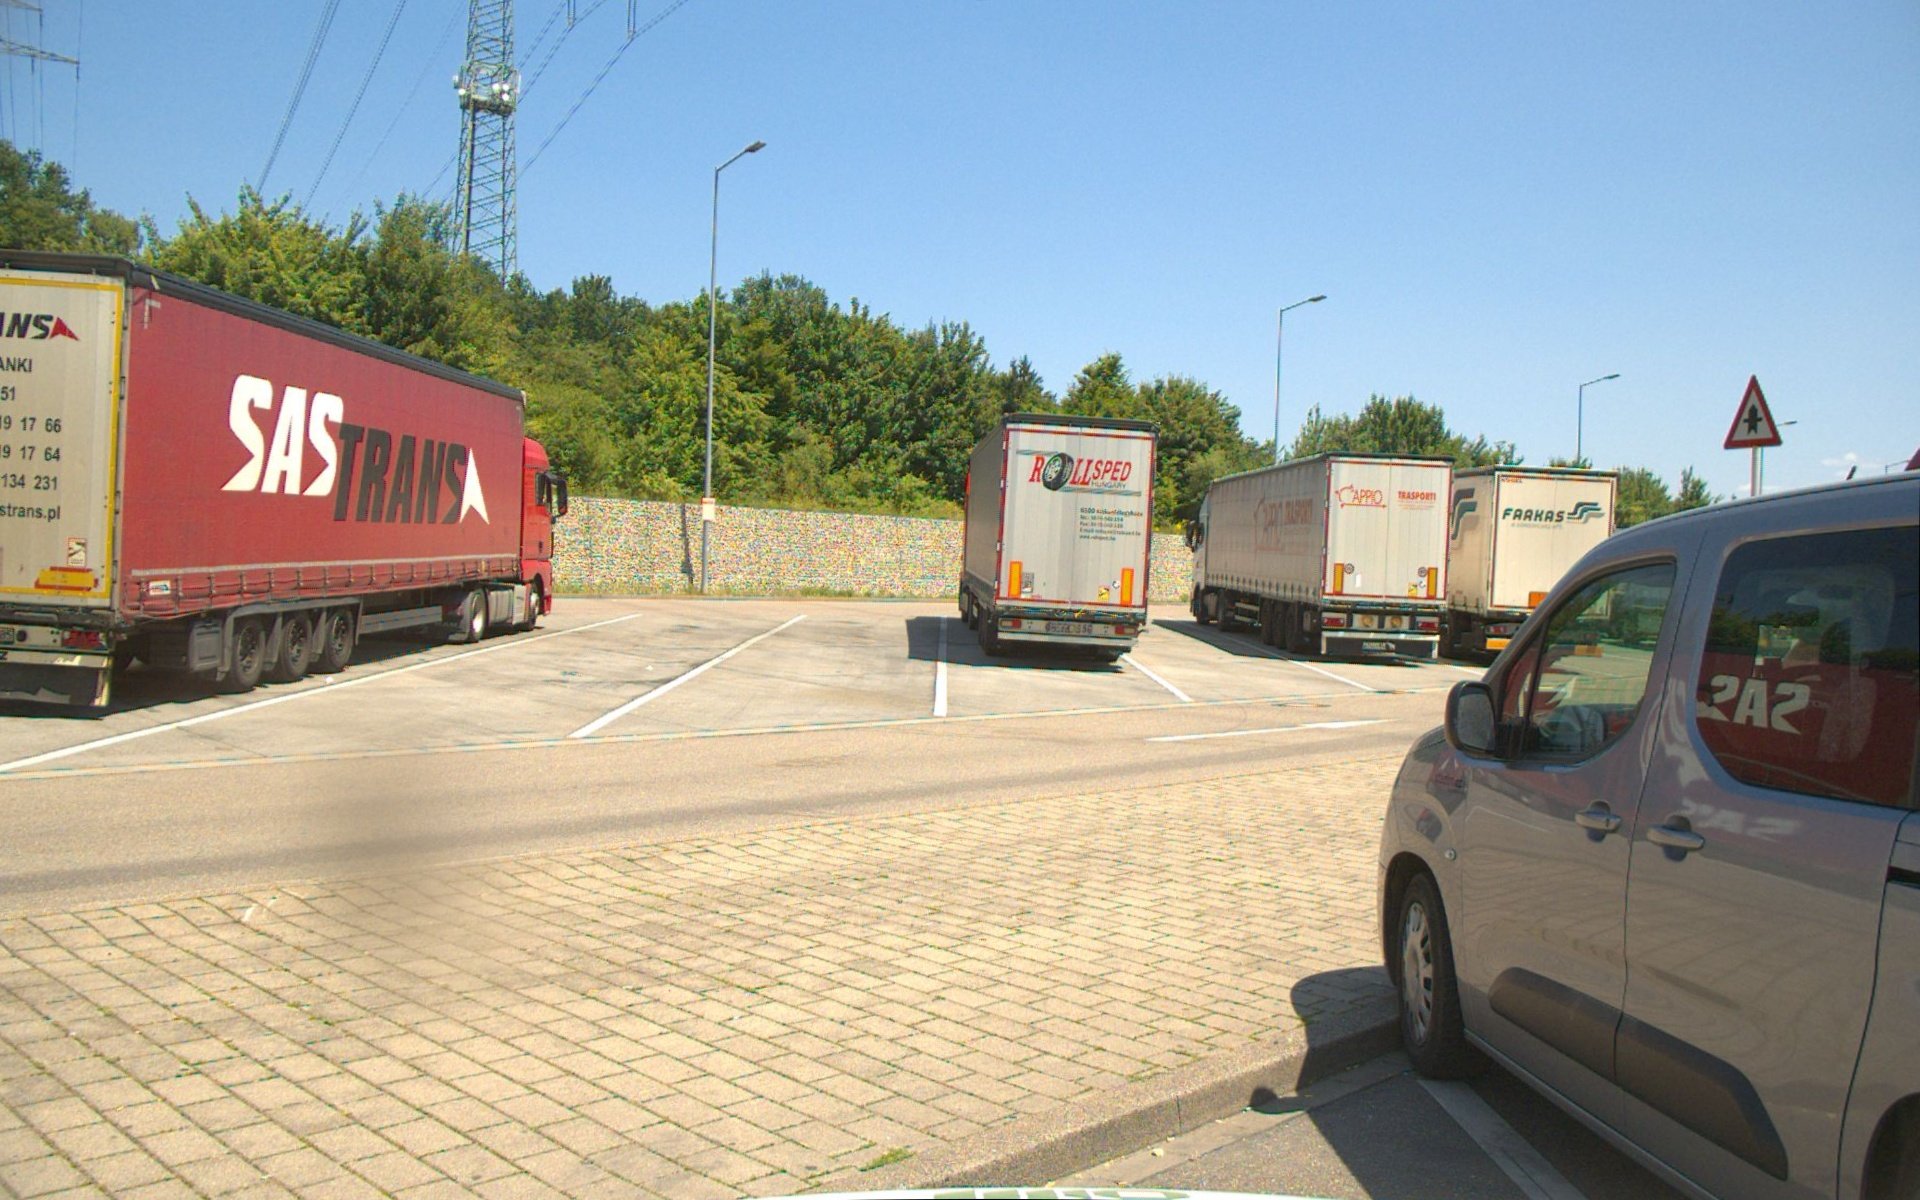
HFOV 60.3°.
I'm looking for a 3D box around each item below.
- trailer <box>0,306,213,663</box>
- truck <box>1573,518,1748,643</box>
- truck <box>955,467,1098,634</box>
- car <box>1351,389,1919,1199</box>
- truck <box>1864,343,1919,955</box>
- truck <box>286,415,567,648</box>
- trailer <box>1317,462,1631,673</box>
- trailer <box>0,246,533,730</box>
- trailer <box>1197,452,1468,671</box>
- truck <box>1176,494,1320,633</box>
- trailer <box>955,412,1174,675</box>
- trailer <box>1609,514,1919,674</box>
[{"bbox_3d":[-12.555,-1.337,17.720,2.739,4.155,14.131,3,2,-1],"label":"trailer"},{"bbox_3d":[21.762,-0.691,51.744,2.746,3.582,5.900,3,2,-1],"label":"truck"},{"bbox_3d":[1.498,-1.239,40.540,3.041,3.628,5.900,3,2,-1],"label":"truck"},{"bbox_3d":[2.437,0.607,3.864,1.832,1.895,4.174,3,1,-2],"label":"car"},{"bbox_3d":[4.999,0.204,4.987,1.937,2.668,5.307,1,0,4],"label":"truck"},{"bbox_3d":[-8.794,-1.152,28.013,2.793,3.385,5.900,3,2,-1],"label":"truck"},{"bbox_3d":[11.730,-0.932,39.963,2.754,4.058,14.395,3,2,-1],"label":"trailer"},{"bbox_3d":[-8.728,-1.291,21.443,2.735,4.155,14.131,3,2,-1],"label":"trailer"},{"bbox_3d":[8.167,-1.027,38.859,2.754,4.058,14.395,3,2,-1],"label":"trailer"},{"bbox_3d":[8.050,-1.091,46.958,2.805,3.582,5.900,3,2,-1],"label":"truck"},{"bbox_3d":[1.655,-1.193,33.649,3.070,4.058,14.393,3,2,-1],"label":"trailer"},{"bbox_3d":[21.840,-0.386,44.514,2.754,3.568,14.395,3,2,-1],"label":"trailer"}]
